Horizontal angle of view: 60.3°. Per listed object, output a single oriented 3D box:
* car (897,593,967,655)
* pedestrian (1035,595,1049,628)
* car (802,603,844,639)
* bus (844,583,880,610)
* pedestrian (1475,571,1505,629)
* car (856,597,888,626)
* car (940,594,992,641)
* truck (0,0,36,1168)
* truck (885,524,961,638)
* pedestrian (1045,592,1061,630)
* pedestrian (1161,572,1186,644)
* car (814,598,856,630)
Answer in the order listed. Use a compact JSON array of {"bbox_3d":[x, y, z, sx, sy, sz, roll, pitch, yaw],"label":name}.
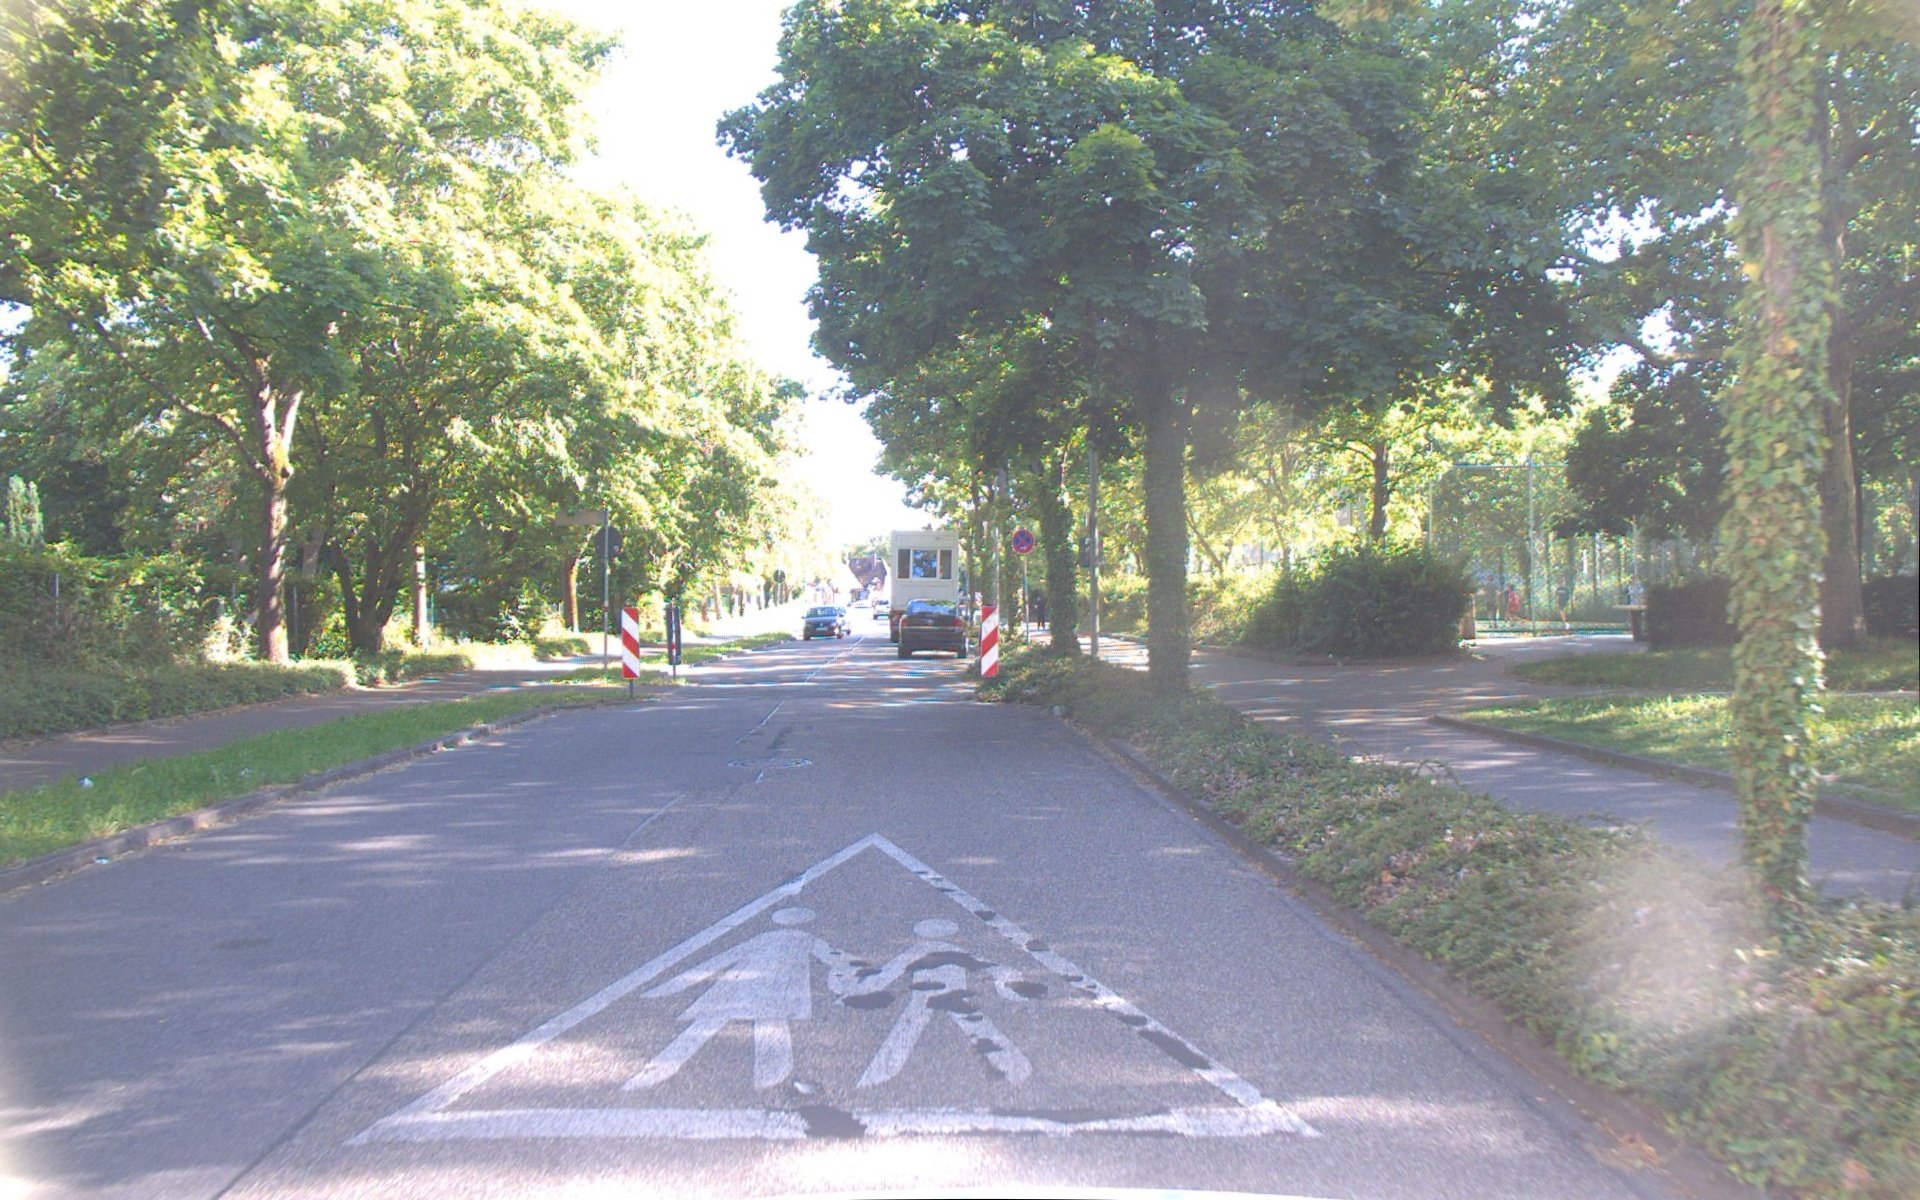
[{"bbox_3d":[-0.693,0.614,42.420,1.712,1.506,4.030,0,-1,0],"label":"car"},{"bbox_3d":[4.149,0.595,83.687,0.586,1.639,0.599,-2,0,-5],"label":"pedestrian"},{"bbox_3d":[-5.894,0.899,71.501,1.568,1.451,3.651,-2,0,-2],"label":"car"},{"bbox_3d":[-12.902,-0.495,219.168,3.982,3.407,9.800,-2,0,0],"label":"bus"},{"bbox_3d":[15.134,0.002,47.247,0.684,1.639,0.699,1,-1,28],"label":"pedestrian"},{"bbox_3d":[-6.629,0.842,124.928,1.952,2.049,4.002,-1,0,4],"label":"car"},{"bbox_3d":[0.190,0.565,54.997,1.606,1.445,4.000,-2,0,0],"label":"car"},{"bbox_3d":[-3.722,-0.332,0.462,2.680,3.705,8.096,0,0,-3],"label":"truck"},{"bbox_3d":[-1.548,-0.676,64.582,2.717,4.066,10.343,1,0,-3],"label":"truck"},{"bbox_3d":[4.688,0.552,83.311,0.684,1.844,0.699,-2,0,-5],"label":"pedestrian"},{"bbox_3d":[4.916,0.185,38.122,0.559,1.636,0.672,0,0,7],"label":"pedestrian"},{"bbox_3d":[-6.165,0.685,82.010,1.720,1.479,4.242,-2,0,-1],"label":"car"}]
